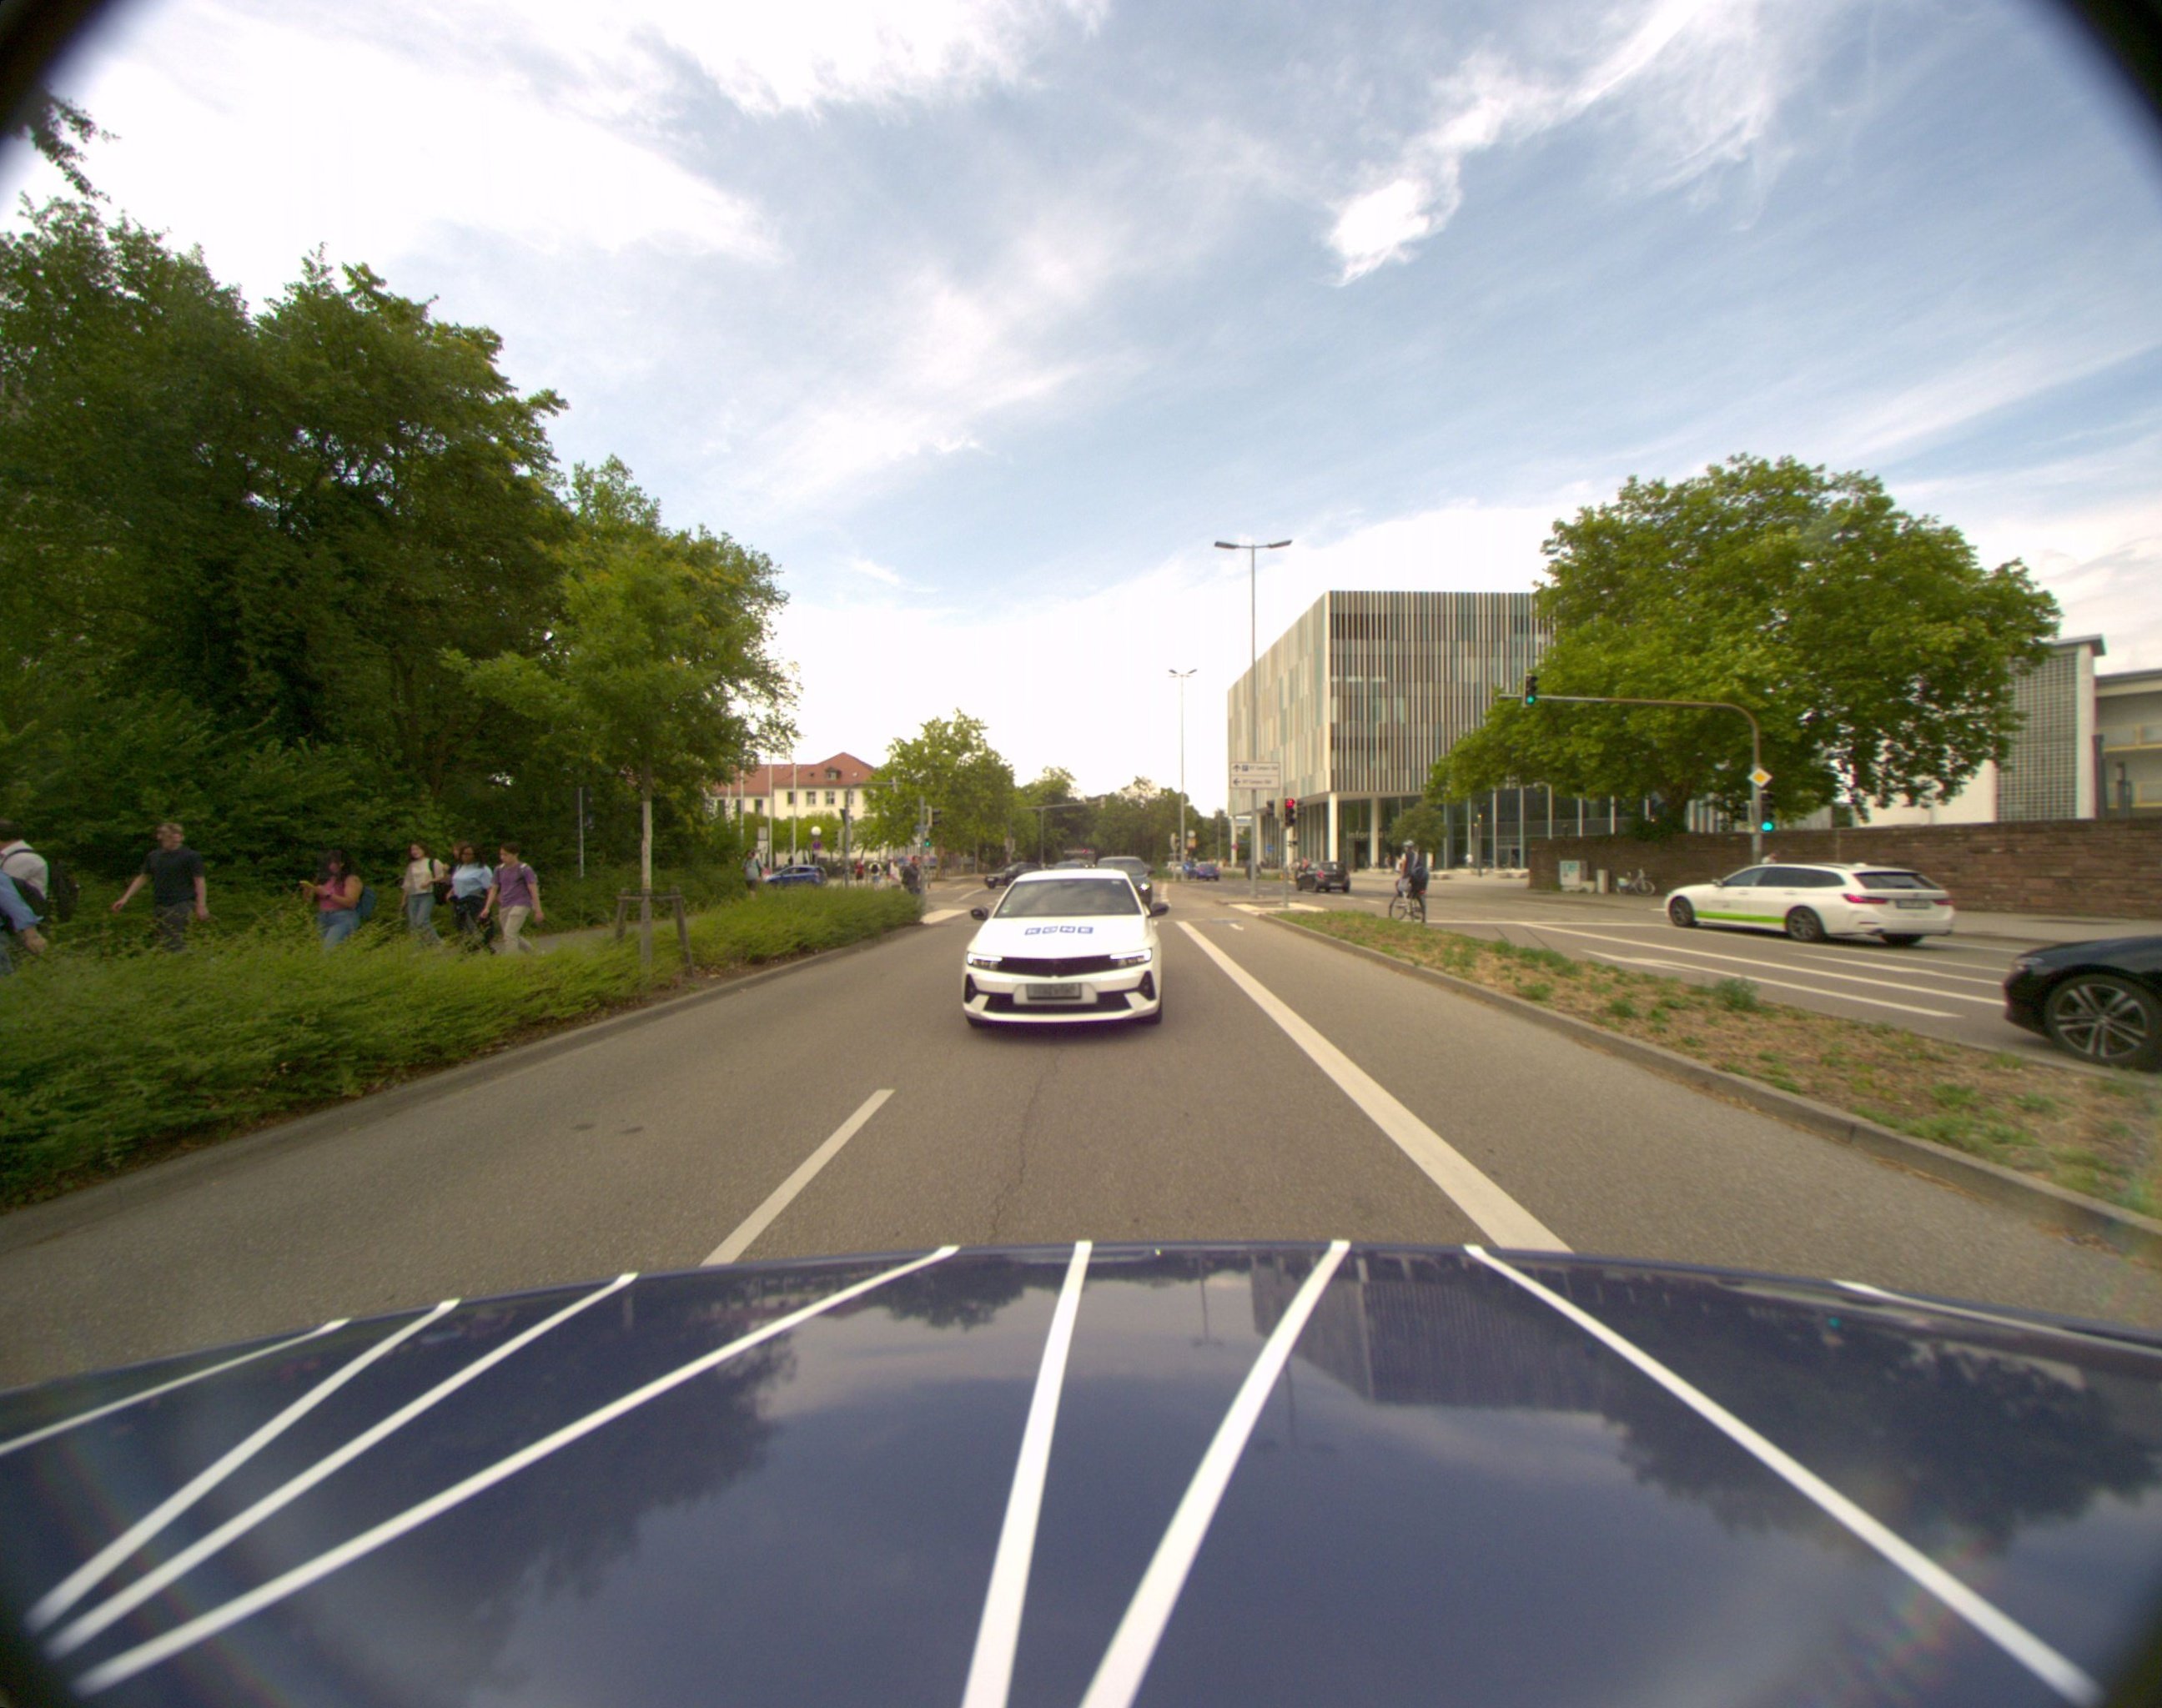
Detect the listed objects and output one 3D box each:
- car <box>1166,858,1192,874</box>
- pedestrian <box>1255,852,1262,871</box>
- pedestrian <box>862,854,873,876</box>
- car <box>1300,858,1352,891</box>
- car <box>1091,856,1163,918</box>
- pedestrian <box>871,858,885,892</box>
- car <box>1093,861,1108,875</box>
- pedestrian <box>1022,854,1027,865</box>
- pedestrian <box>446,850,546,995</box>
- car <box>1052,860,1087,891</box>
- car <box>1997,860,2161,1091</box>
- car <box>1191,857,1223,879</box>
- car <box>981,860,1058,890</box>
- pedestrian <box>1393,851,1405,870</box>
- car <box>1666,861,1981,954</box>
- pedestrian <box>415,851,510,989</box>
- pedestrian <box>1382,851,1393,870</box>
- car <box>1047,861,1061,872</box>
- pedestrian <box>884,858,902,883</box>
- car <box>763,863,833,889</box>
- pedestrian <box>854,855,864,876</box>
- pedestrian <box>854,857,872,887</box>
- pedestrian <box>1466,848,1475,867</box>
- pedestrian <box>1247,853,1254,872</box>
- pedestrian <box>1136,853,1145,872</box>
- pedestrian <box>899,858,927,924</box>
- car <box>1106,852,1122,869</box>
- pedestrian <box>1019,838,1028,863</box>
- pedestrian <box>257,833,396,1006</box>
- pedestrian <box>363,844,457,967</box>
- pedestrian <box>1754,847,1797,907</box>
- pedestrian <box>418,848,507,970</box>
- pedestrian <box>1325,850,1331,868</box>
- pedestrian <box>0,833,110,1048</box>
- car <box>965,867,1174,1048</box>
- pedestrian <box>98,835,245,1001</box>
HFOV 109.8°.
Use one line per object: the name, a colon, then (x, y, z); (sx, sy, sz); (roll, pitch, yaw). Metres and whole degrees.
car: (8.972, 1.082, 69.855); (1.806, 1.480, 4.288); (0, 0, 0)
pedestrian: (17.606, 0.766, 75.358); (0.512, 1.826, 0.624); (0, -1, -1)
pedestrian: (-19.757, 1.009, 70.299); (0.687, 1.951, 0.601); (-2, 1, -40)
car: (11.806, 0.973, 36.817); (1.575, 1.480, 3.637); (1, 0, 4)
car: (1.275, 0.903, 22.849); (1.904, 1.639, 4.645); (-1, 0, 0)
pedestrian: (-11.359, 1.173, 42.488); (0.647, 1.841, 0.828); (-2, 1, -12)
car: (2.309, 1.611, 89.064); (1.660, 1.455, 4.000); (2, 0, 1)
pedestrian: (-9.743, 1.009, 131.016); (0.798, 1.922, 0.760); (0, 0, -1)
pedestrian: (-7.269, 0.825, 9.474); (0.626, 1.735, 0.780); (0, 0, 0)
car: (-0.603, 1.092, 39.565); (1.703, 1.485, 3.831); (0, 0, -1)
car: (7.897, 0.781, 3.584); (1.806, 1.480, 4.405); (0, 0, -1)
car: (9.724, 1.039, 58.819); (1.806, 1.503, 4.102); (0, 1, 0)
car: (-3.660, 1.236, 45.578); (4.183, 1.547, 1.801); (-2, 0, -34)
pedestrian: (27.700, 0.568, 66.163); (0.731, 1.591, 0.677); (-1, 1, -32)
car: (13.856, 0.898, 14.647); (1.806, 1.480, 4.416); (0, 0, 1)
pedestrian: (-8.034, 0.827, 9.899); (0.582, 1.735, 0.789); (0, 0, 0)
pedestrian: (26.972, 0.566, 66.858); (0.731, 1.730, 0.677); (-1, 1, -35)
car: (-3.379, 1.614, 97.253); (1.703, 1.361, 3.832); (0, 0, -1)
pedestrian: (-13.389, 1.176, 54.117); (0.953, 1.698, 0.702); (-2, 1, 18)
car: (-17.152, 1.335, 46.192); (3.580, 1.483, 1.674); (-1, 1, -1)
pedestrian: (-20.370, 1.054, 69.768); (0.687, 1.951, 0.601); (-2, 1, -40)
pedestrian: (-13.618, 1.107, 47.405); (0.769, 1.794, 0.892); (-2, 0, 4)
pedestrian: (36.753, 0.366, 71.643); (0.635, 1.768, 0.598); (0, 1, 44)
pedestrian: (16.807, 0.856, 75.350); (0.512, 1.826, 0.772); (0, -1, -1)
pedestrian: (5.591, 0.797, 71.733); (0.727, 1.842, 1.064); (-1, 0, -3)
pedestrian: (-4.460, 0.979, 20.192); (0.603, 1.725, 0.654); (0, 0, 0)
car: (3.852, 0.761, 89.854); (1.839, 2.002, 4.000); (0, 0, 2)
pedestrian: (-4.244, -0.271, 56.569); (0.574, 1.806, 0.682); (-1, 0, 2)
pedestrian: (-7.888, 0.656, 7.978); (0.658, 1.735, 0.780); (0, 0, 0)
pedestrian: (-9.750, 0.725, 11.065); (0.658, 1.735, 0.780); (0, 0, 0)
pedestrian: (21.360, 0.693, 23.375); (0.748, 1.772, 0.782); (-2, 2, -32)
pedestrian: (-9.065, 0.783, 11.164); (0.658, 1.735, 0.780); (0, 0, 0)
pedestrian: (28.034, 0.554, 86.327); (0.512, 2.032, 0.624); (0, 0, -2)
pedestrian: (-9.165, 0.717, 6.408); (0.658, 1.756, 0.957); (-1, 0, 0)
car: (-0.145, 0.905, 8.757); (1.744, 1.430, 4.782); (0, 0, -1)
pedestrian: (-9.934, 0.675, 8.331); (0.658, 1.735, 0.780); (0, 0, 0)
